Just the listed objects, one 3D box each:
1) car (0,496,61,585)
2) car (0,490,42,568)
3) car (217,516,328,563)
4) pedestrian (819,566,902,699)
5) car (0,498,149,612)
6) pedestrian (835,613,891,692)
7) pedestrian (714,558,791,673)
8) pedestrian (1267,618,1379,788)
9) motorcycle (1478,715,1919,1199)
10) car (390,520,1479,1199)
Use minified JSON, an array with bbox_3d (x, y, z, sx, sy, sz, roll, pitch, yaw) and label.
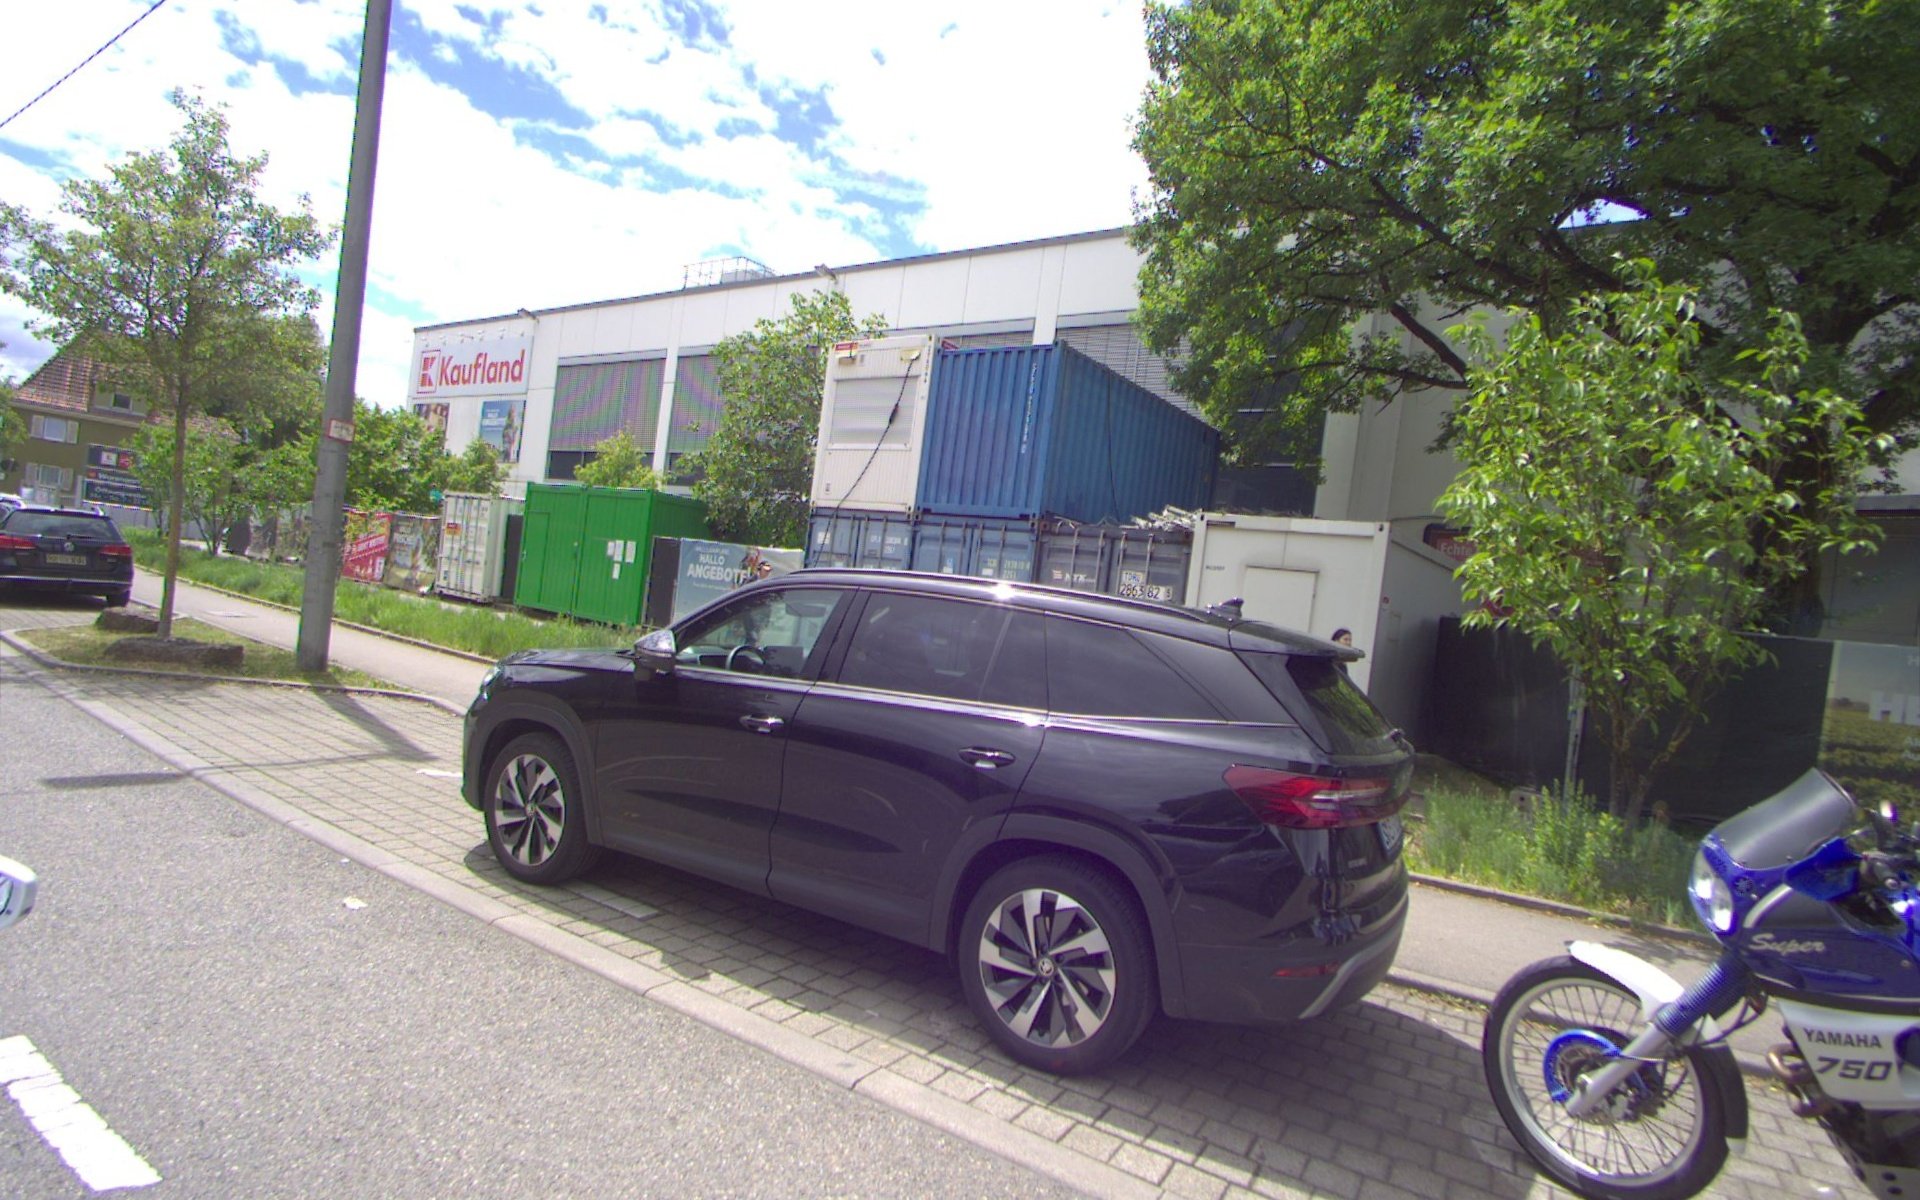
[{"bbox_3d":[-18.426,-1.230,19.040,3.944,1.512,1.565,6,1,41],"label":"car"},{"bbox_3d":[-22.411,-1.717,22.880,4.325,1.637,1.733,6,2,41],"label":"car"},{"bbox_3d":[-32.721,-2.847,47.980,1.583,1.626,3.989,8,0,35],"label":"car"},{"bbox_3d":[-1.372,0.449,13.841,0.714,1.717,0.650,7,0,37],"label":"pedestrian"},{"bbox_3d":[-14.621,-0.800,15.895,4.863,1.497,1.762,6,2,38],"label":"car"},{"bbox_3d":[-1.396,0.754,14.477,0.558,1.071,0.411,6,0,38],"label":"pedestrian"},{"bbox_3d":[-3.316,0.246,16.079,0.832,1.718,0.651,6,0,38],"label":"pedestrian"},{"bbox_3d":[3.814,1.064,10.554,0.756,1.638,0.742,6,0,37],"label":"pedestrian"},{"bbox_3d":[2.626,1.152,2.535,2.221,1.323,1.072,6,3,28],"label":"motorcycle"},{"bbox_3d":[-0.344,0.677,4.757,4.765,1.642,1.880,6,1,30],"label":"car"}]
